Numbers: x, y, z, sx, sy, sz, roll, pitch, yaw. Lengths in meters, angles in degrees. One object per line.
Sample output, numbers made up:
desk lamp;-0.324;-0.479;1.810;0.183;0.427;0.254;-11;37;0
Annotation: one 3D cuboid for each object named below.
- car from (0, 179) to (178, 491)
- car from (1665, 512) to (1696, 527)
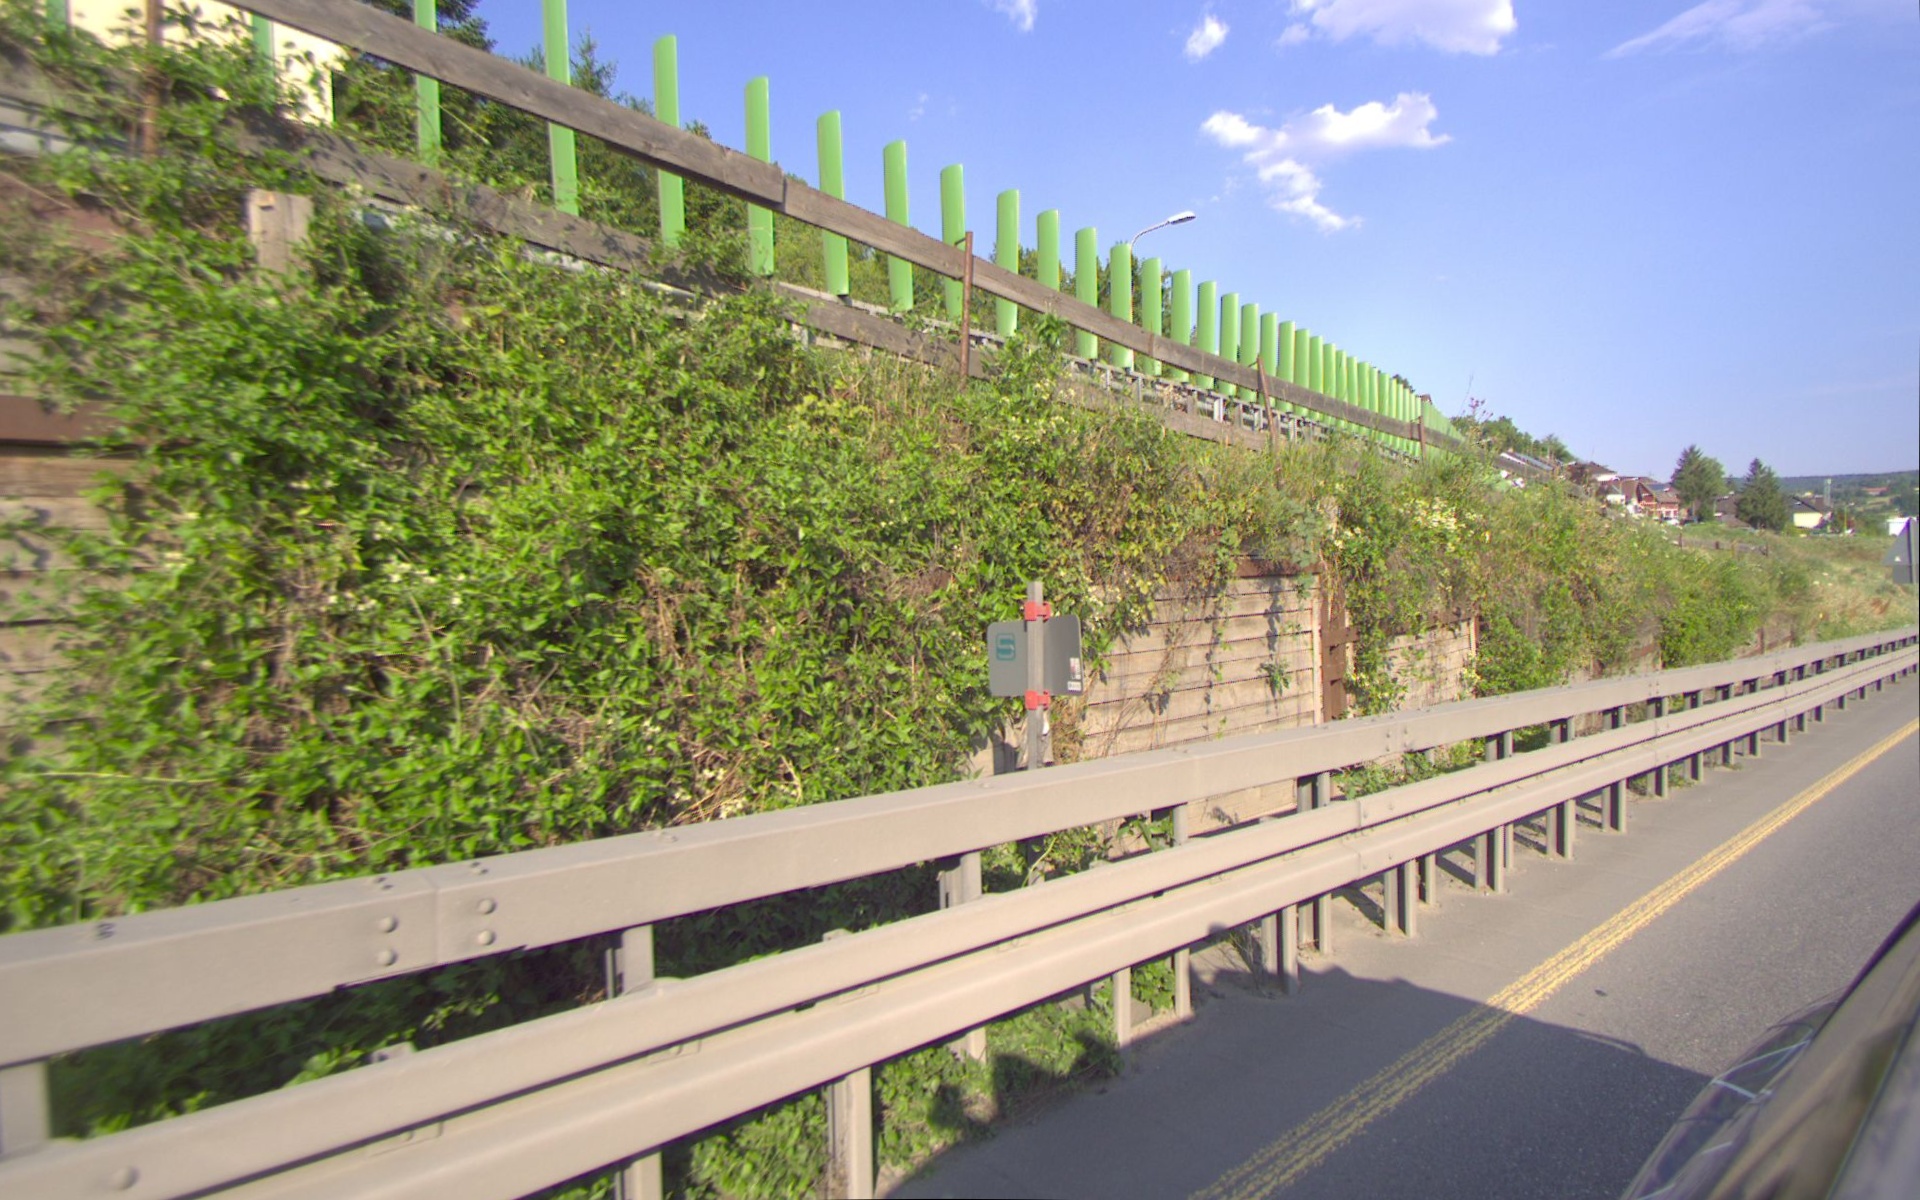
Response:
car;-7.166;-1.556;5.317;1.696;1.678;4.581;1;3;41
car;84.048;-9.411;118.040;3.930;1.460;1.997;-1;1;-41
